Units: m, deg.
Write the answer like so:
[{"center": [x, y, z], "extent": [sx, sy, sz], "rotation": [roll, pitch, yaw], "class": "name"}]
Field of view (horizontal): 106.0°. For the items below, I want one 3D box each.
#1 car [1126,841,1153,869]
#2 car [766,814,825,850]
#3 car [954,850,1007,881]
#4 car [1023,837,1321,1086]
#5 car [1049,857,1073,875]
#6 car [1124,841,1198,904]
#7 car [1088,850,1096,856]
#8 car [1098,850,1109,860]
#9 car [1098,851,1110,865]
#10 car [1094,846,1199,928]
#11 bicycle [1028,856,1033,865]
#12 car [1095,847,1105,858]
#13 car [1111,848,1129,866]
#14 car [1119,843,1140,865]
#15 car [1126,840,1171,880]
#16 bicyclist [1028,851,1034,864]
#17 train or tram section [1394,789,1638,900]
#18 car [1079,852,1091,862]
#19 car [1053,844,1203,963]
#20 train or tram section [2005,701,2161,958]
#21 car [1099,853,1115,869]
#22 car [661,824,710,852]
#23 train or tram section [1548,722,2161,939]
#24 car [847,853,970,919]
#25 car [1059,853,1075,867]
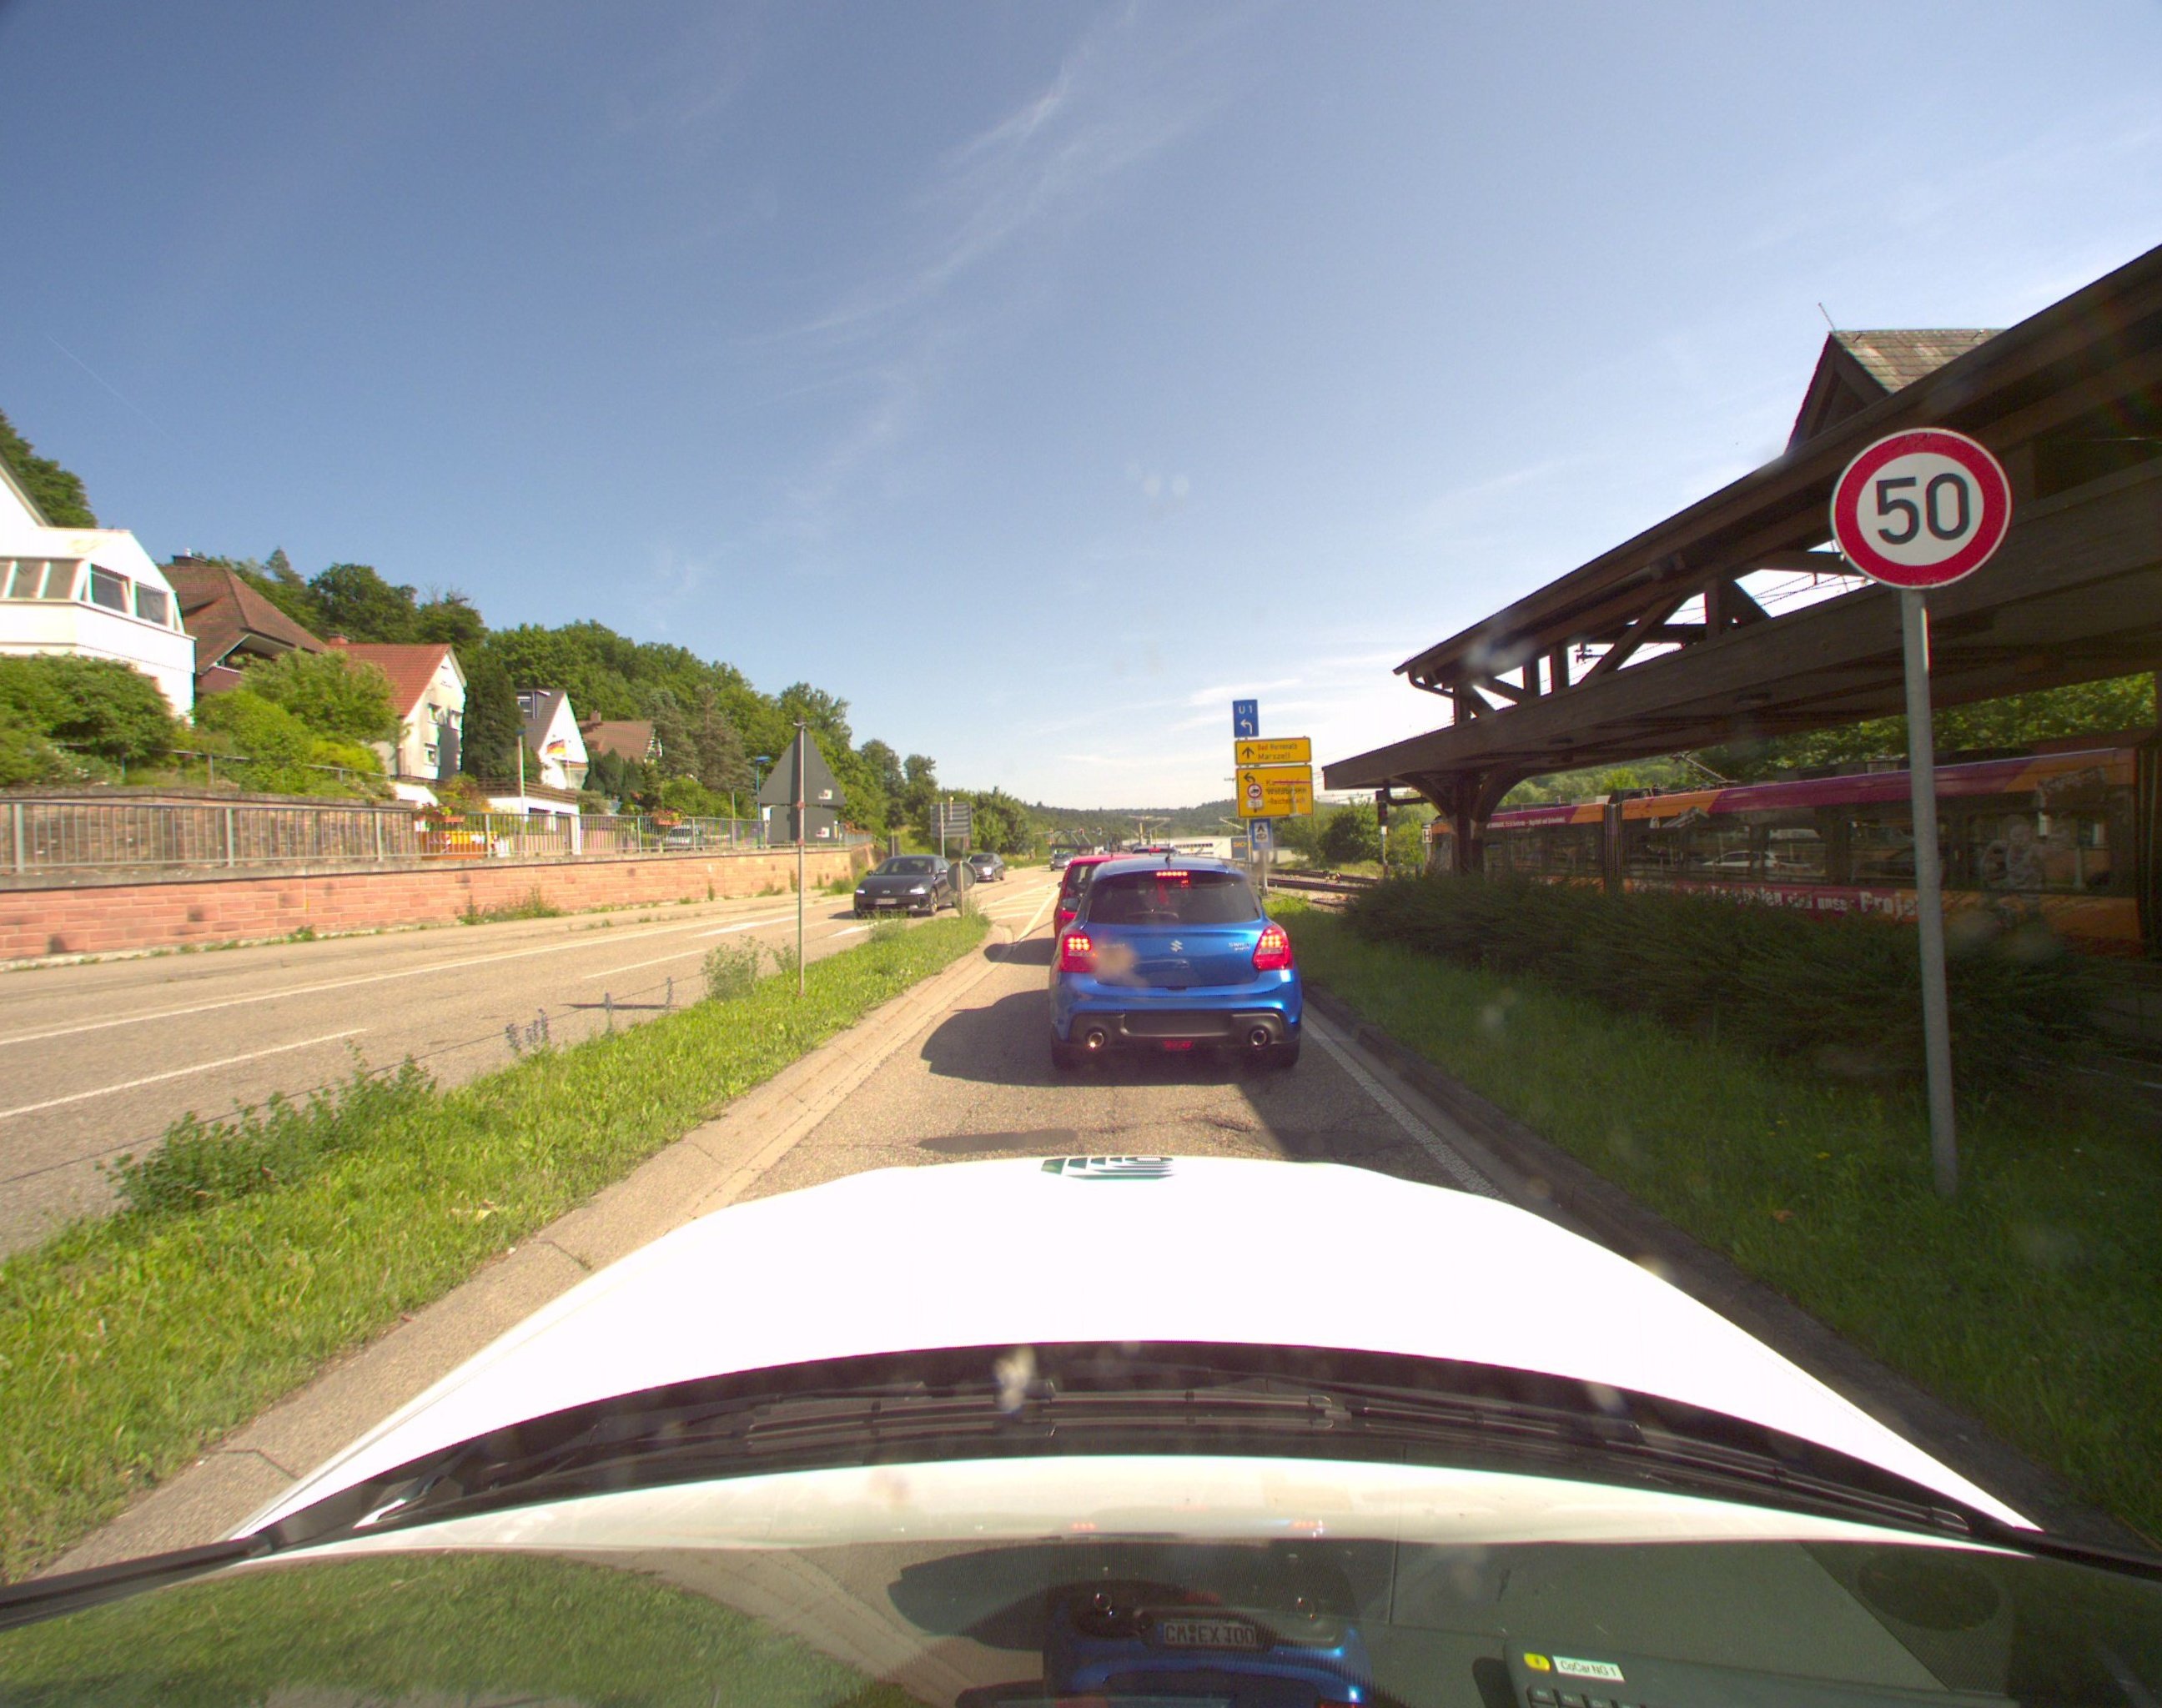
[{"center": [4.491, 0.039, 63.005], "extent": [1.986, 2.013, 4.002], "rotation": [0, 1, 2], "class": "car"}, {"center": [-16.100, -1.245, 46.127], "extent": [2.017, 1.920, 4.724], "rotation": [0, 1, -5], "class": "car"}, {"center": [-5.370, 0.573, 44.146], "extent": [1.985, 1.564, 4.514], "rotation": [-1, 0, 4], "class": "car"}, {"center": [0.616, 0.671, 7.156], "extent": [1.862, 1.548, 4.001], "rotation": [-1, 0, 1], "class": "car"}, {"center": [-1.617, 1.005, 67.811], "extent": [1.665, 1.441, 3.843], "rotation": [-1, 0, 3], "class": "car"}, {"center": [2.292, 0.472, 24.152], "extent": [1.985, 1.686, 4.501], "rotation": [0, 0, 3], "class": "car"}, {"center": [2.633, -0.202, 194.903], "extent": [1.986, 1.554, 4.217], "rotation": [0, 0, 2], "class": "car"}, {"center": [4.046, 0.201, 148.710], "extent": [1.986, 1.816, 4.002], "rotation": [0, 1, 2], "class": "car"}, {"center": [3.683, 0.605, 130.416], "extent": [1.986, 2.013, 4.002], "rotation": [0, 1, 2], "class": "car"}, {"center": [1.412, 0.633, 18.084], "extent": [1.985, 1.531, 4.606], "rotation": [-2, 0, 3], "class": "car"}, {"center": [-6.159, 0.807, 100.136], "extent": [0.564, 1.043, 1.551], "rotation": [0, 1, -1], "class": "bicycle"}, {"center": [3.795, -0.257, 165.997], "extent": [1.986, 2.144, 4.722], "rotation": [0, 0, 2], "class": "car"}, {"center": [4.403, 0.313, 93.196], "extent": [1.986, 2.013, 4.002], "rotation": [0, 1, 2], "class": "car"}, {"center": [4.706, 0.008, 79.294], "extent": [1.986, 2.013, 4.002], "rotation": [0, 1, 2], "class": "car"}, {"center": [3.094, 0.247, 38.075], "extent": [1.985, 1.736, 4.004], "rotation": [0, 0, 3], "class": "car"}, {"center": [-6.147, 0.431, 100.083], "extent": [0.627, 1.507, 0.506], "rotation": [0, 1, -2], "class": "bicyclist"}, {"center": [15.474, -0.350, 30.640], "extent": [2.747, 3.364, 12.046], "rotation": [0, 1, 0], "class": "train or tram section"}, {"center": [0.654, 0.484, 140.269], "extent": [1.986, 1.783, 4.002], "rotation": [0, 0, 2], "class": "car"}, {"center": [0.743, 0.665, 12.828], "extent": [1.985, 1.571, 4.004], "rotation": [0, 0, 3], "class": "car"}, {"center": [15.599, -0.328, 5.287], "extent": [2.847, 3.365, 14.350], "rotation": [-1, 0, 0], "class": "train or tram section"}, {"center": [3.510, 0.927, 109.892], "extent": [1.986, 2.013, 4.002], "rotation": [0, 1, 2], "class": "car"}, {"center": [-24.458, -0.975, 50.501], "extent": [1.898, 1.629, 3.981], "rotation": [-1, 0, -14], "class": "car"}, {"center": [15.515, -0.336, 18.650], "extent": [2.777, 3.364, 12.045], "rotation": [0, 0, 0], "class": "train or tram section"}, {"center": [-4.277, 0.734, 21.029], "extent": [1.783, 1.470, 4.722], "rotation": [-1, 0, 5], "class": "car"}, {"center": [-1.638, 0.656, 98.050], "extent": [1.826, 1.468, 3.812], "rotation": [1, 2, 1], "class": "car"}]
